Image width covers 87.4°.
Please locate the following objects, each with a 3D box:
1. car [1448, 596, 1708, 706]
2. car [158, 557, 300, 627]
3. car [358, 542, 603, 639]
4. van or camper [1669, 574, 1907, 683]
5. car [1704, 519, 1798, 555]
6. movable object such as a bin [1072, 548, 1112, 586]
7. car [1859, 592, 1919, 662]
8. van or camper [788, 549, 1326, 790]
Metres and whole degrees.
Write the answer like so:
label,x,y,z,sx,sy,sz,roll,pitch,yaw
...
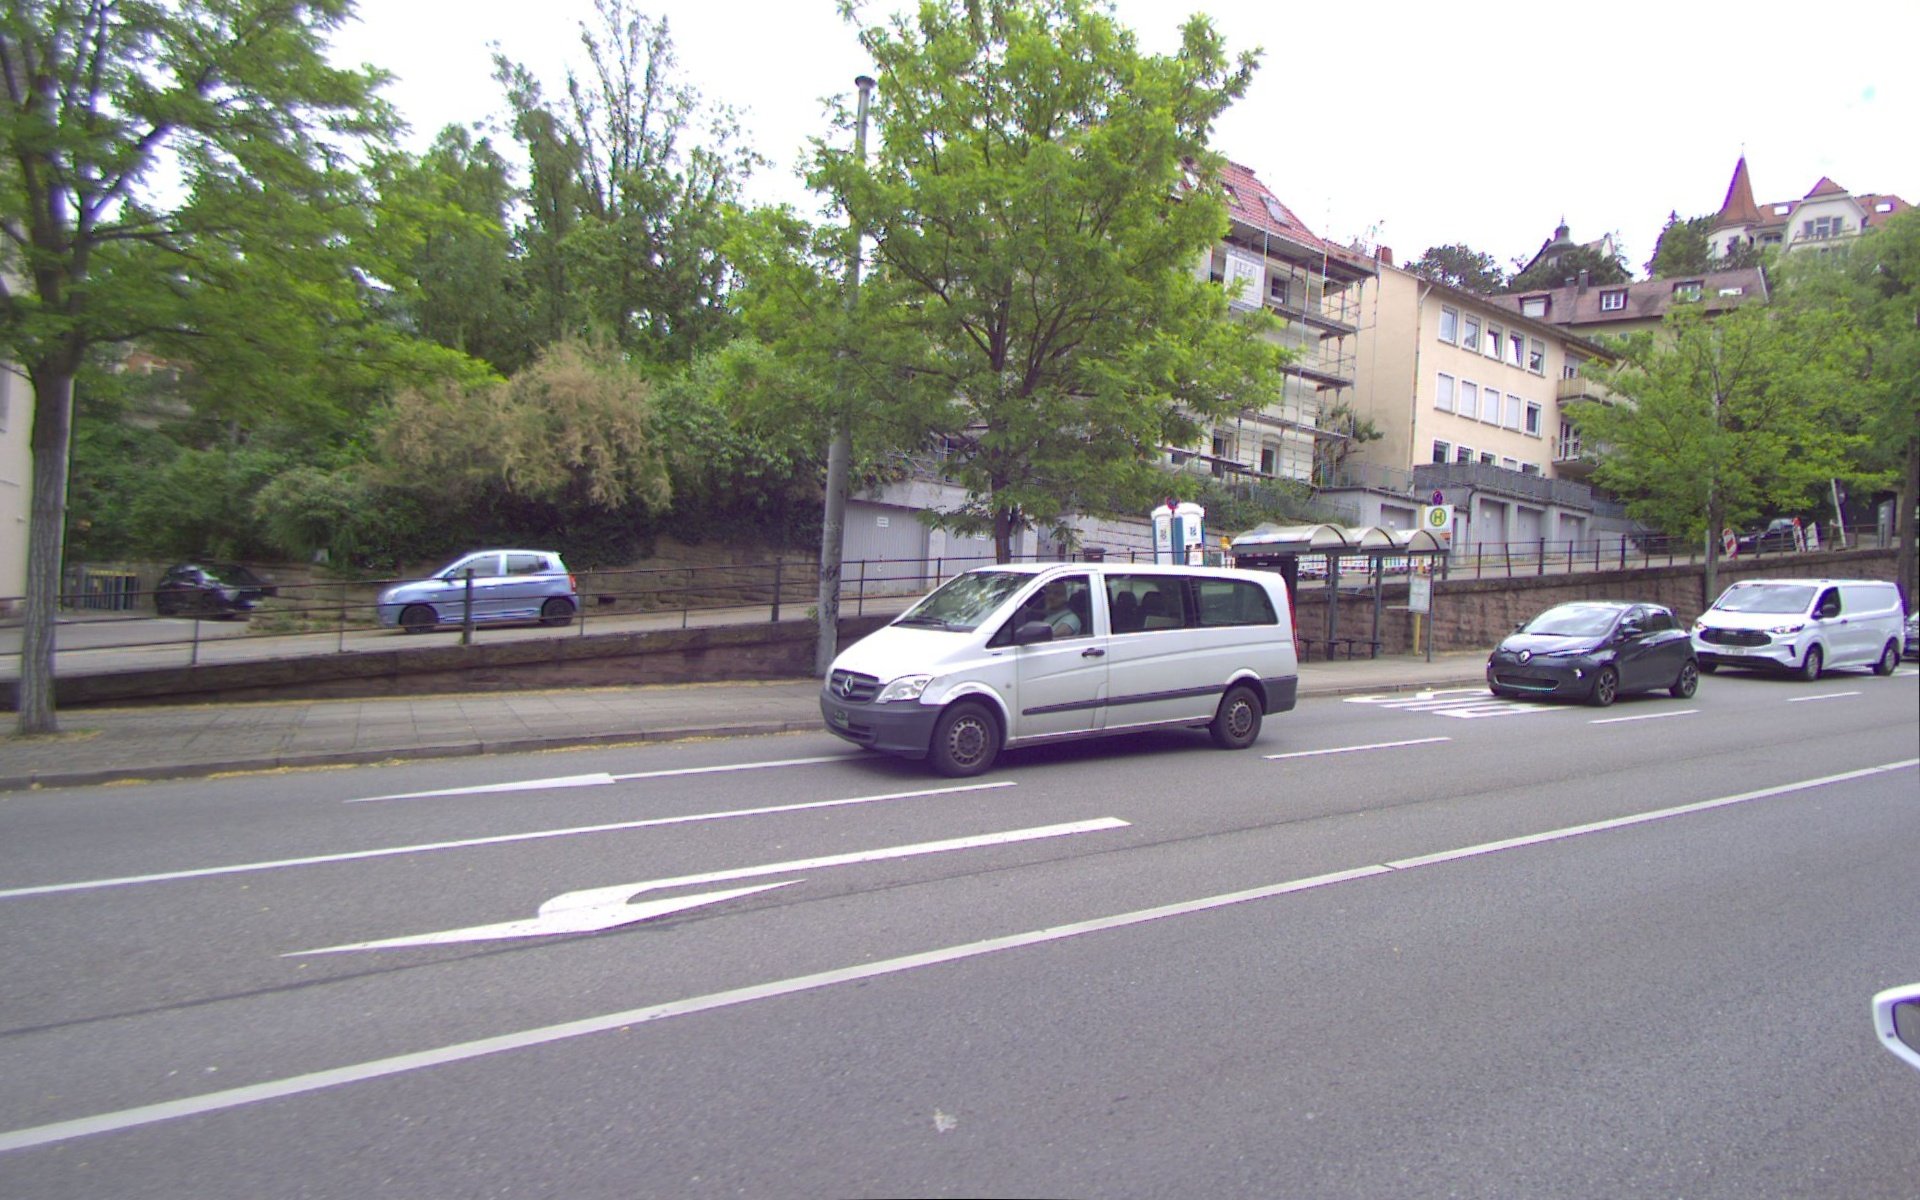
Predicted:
label,x,y,z,sx,sy,sz,roll,pitch,yaw
car,10.010,0.745,16.240,3.945,1.541,1.983,1,1,-31
car,-22.048,-0.184,30.278,3.929,1.861,1.997,-2,-4,30
car,-9.048,-0.250,19.153,3.948,1.595,1.986,-3,3,-27
van or camper,17.428,0.556,21.074,5.494,2.040,1.985,1,0,-29
car,33.811,-2.680,42.941,3.544,1.296,1.549,1,-1,-20
movable object such as a bin,3.858,-0.957,29.358,0.830,1.056,0.800,1,-1,-36
car,25.280,0.660,25.694,4.274,1.640,1.985,-1,3,-28
van or camper,1.145,0.583,10.279,5.396,1.921,1.983,1,0,-32
